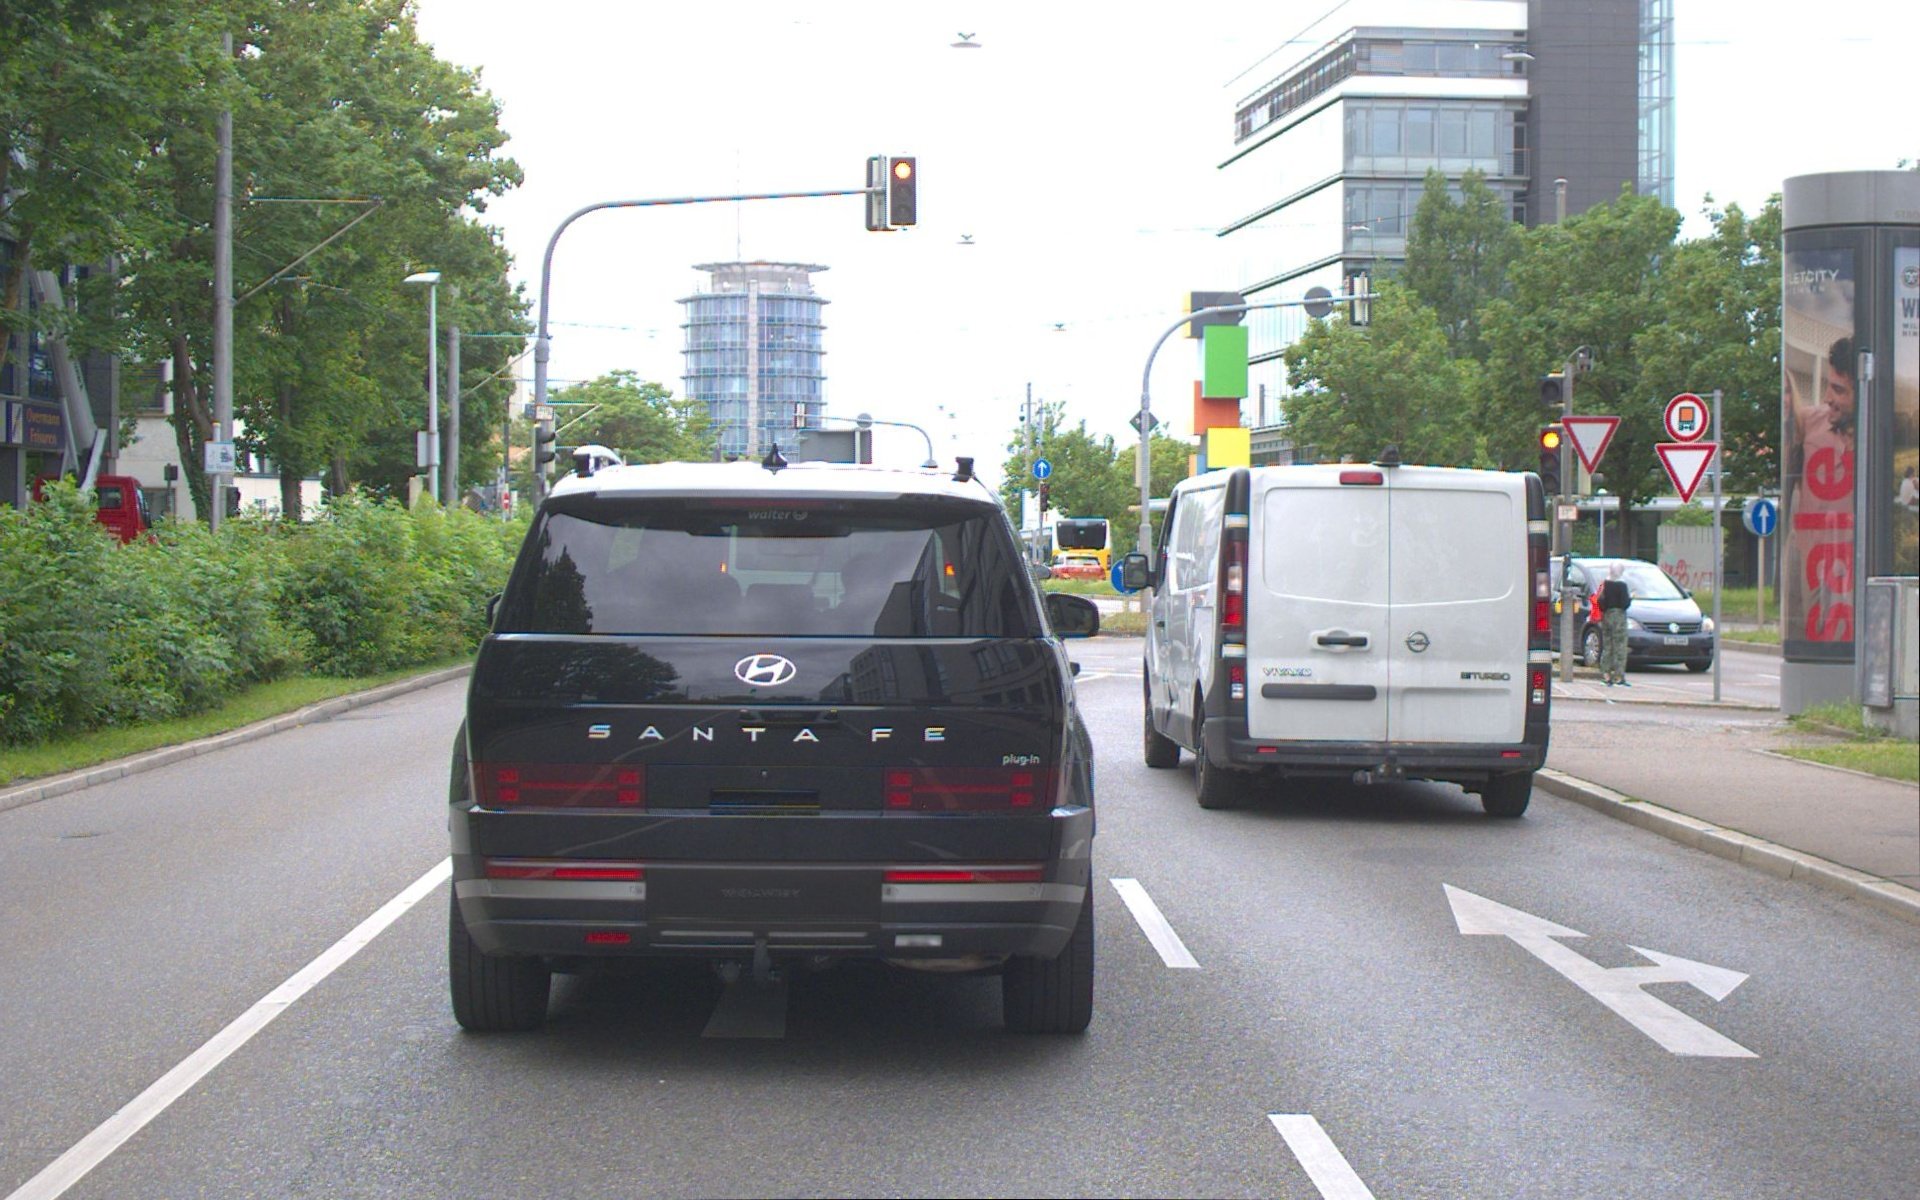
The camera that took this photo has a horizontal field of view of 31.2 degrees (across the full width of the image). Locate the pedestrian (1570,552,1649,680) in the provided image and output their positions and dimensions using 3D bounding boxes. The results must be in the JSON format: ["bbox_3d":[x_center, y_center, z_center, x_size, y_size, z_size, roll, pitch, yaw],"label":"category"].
[{"bbox_3d":[8.145,0.202,43.115,0.738,1.579,0.573,1,2,-41],"label":"pedestrian"}]

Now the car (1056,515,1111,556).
[{"bbox_3d":[5.314,-2.775,148.515,1.993,1.678,4.001,1,0,-4],"label":"car"}]

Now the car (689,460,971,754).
[{"bbox_3d":[-0.924,0.010,25.296,1.915,1.996,3.880,0,1,-1],"label":"car"}]

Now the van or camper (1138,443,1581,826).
[{"bbox_3d":[2.240,0.141,20.556,1.993,2.007,4.653,1,1,-1],"label":"van or camper"}]

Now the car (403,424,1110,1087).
[{"bbox_3d":[-0.575,0.377,11.054,1.869,1.754,3.880,0,1,-1],"label":"car"}]

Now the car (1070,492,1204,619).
[{"bbox_3d":[2.895,-0.735,56.994,1.993,2.007,4.000,1,0,0],"label":"car"}]

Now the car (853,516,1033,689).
[{"bbox_3d":[-0.148,0.009,36.620,1.776,1.711,4.338,1,0,1],"label":"car"}]

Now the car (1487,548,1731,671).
[{"bbox_3d":[9.196,0.111,48.998,1.698,1.678,3.791,1,0,-20],"label":"car"}]
